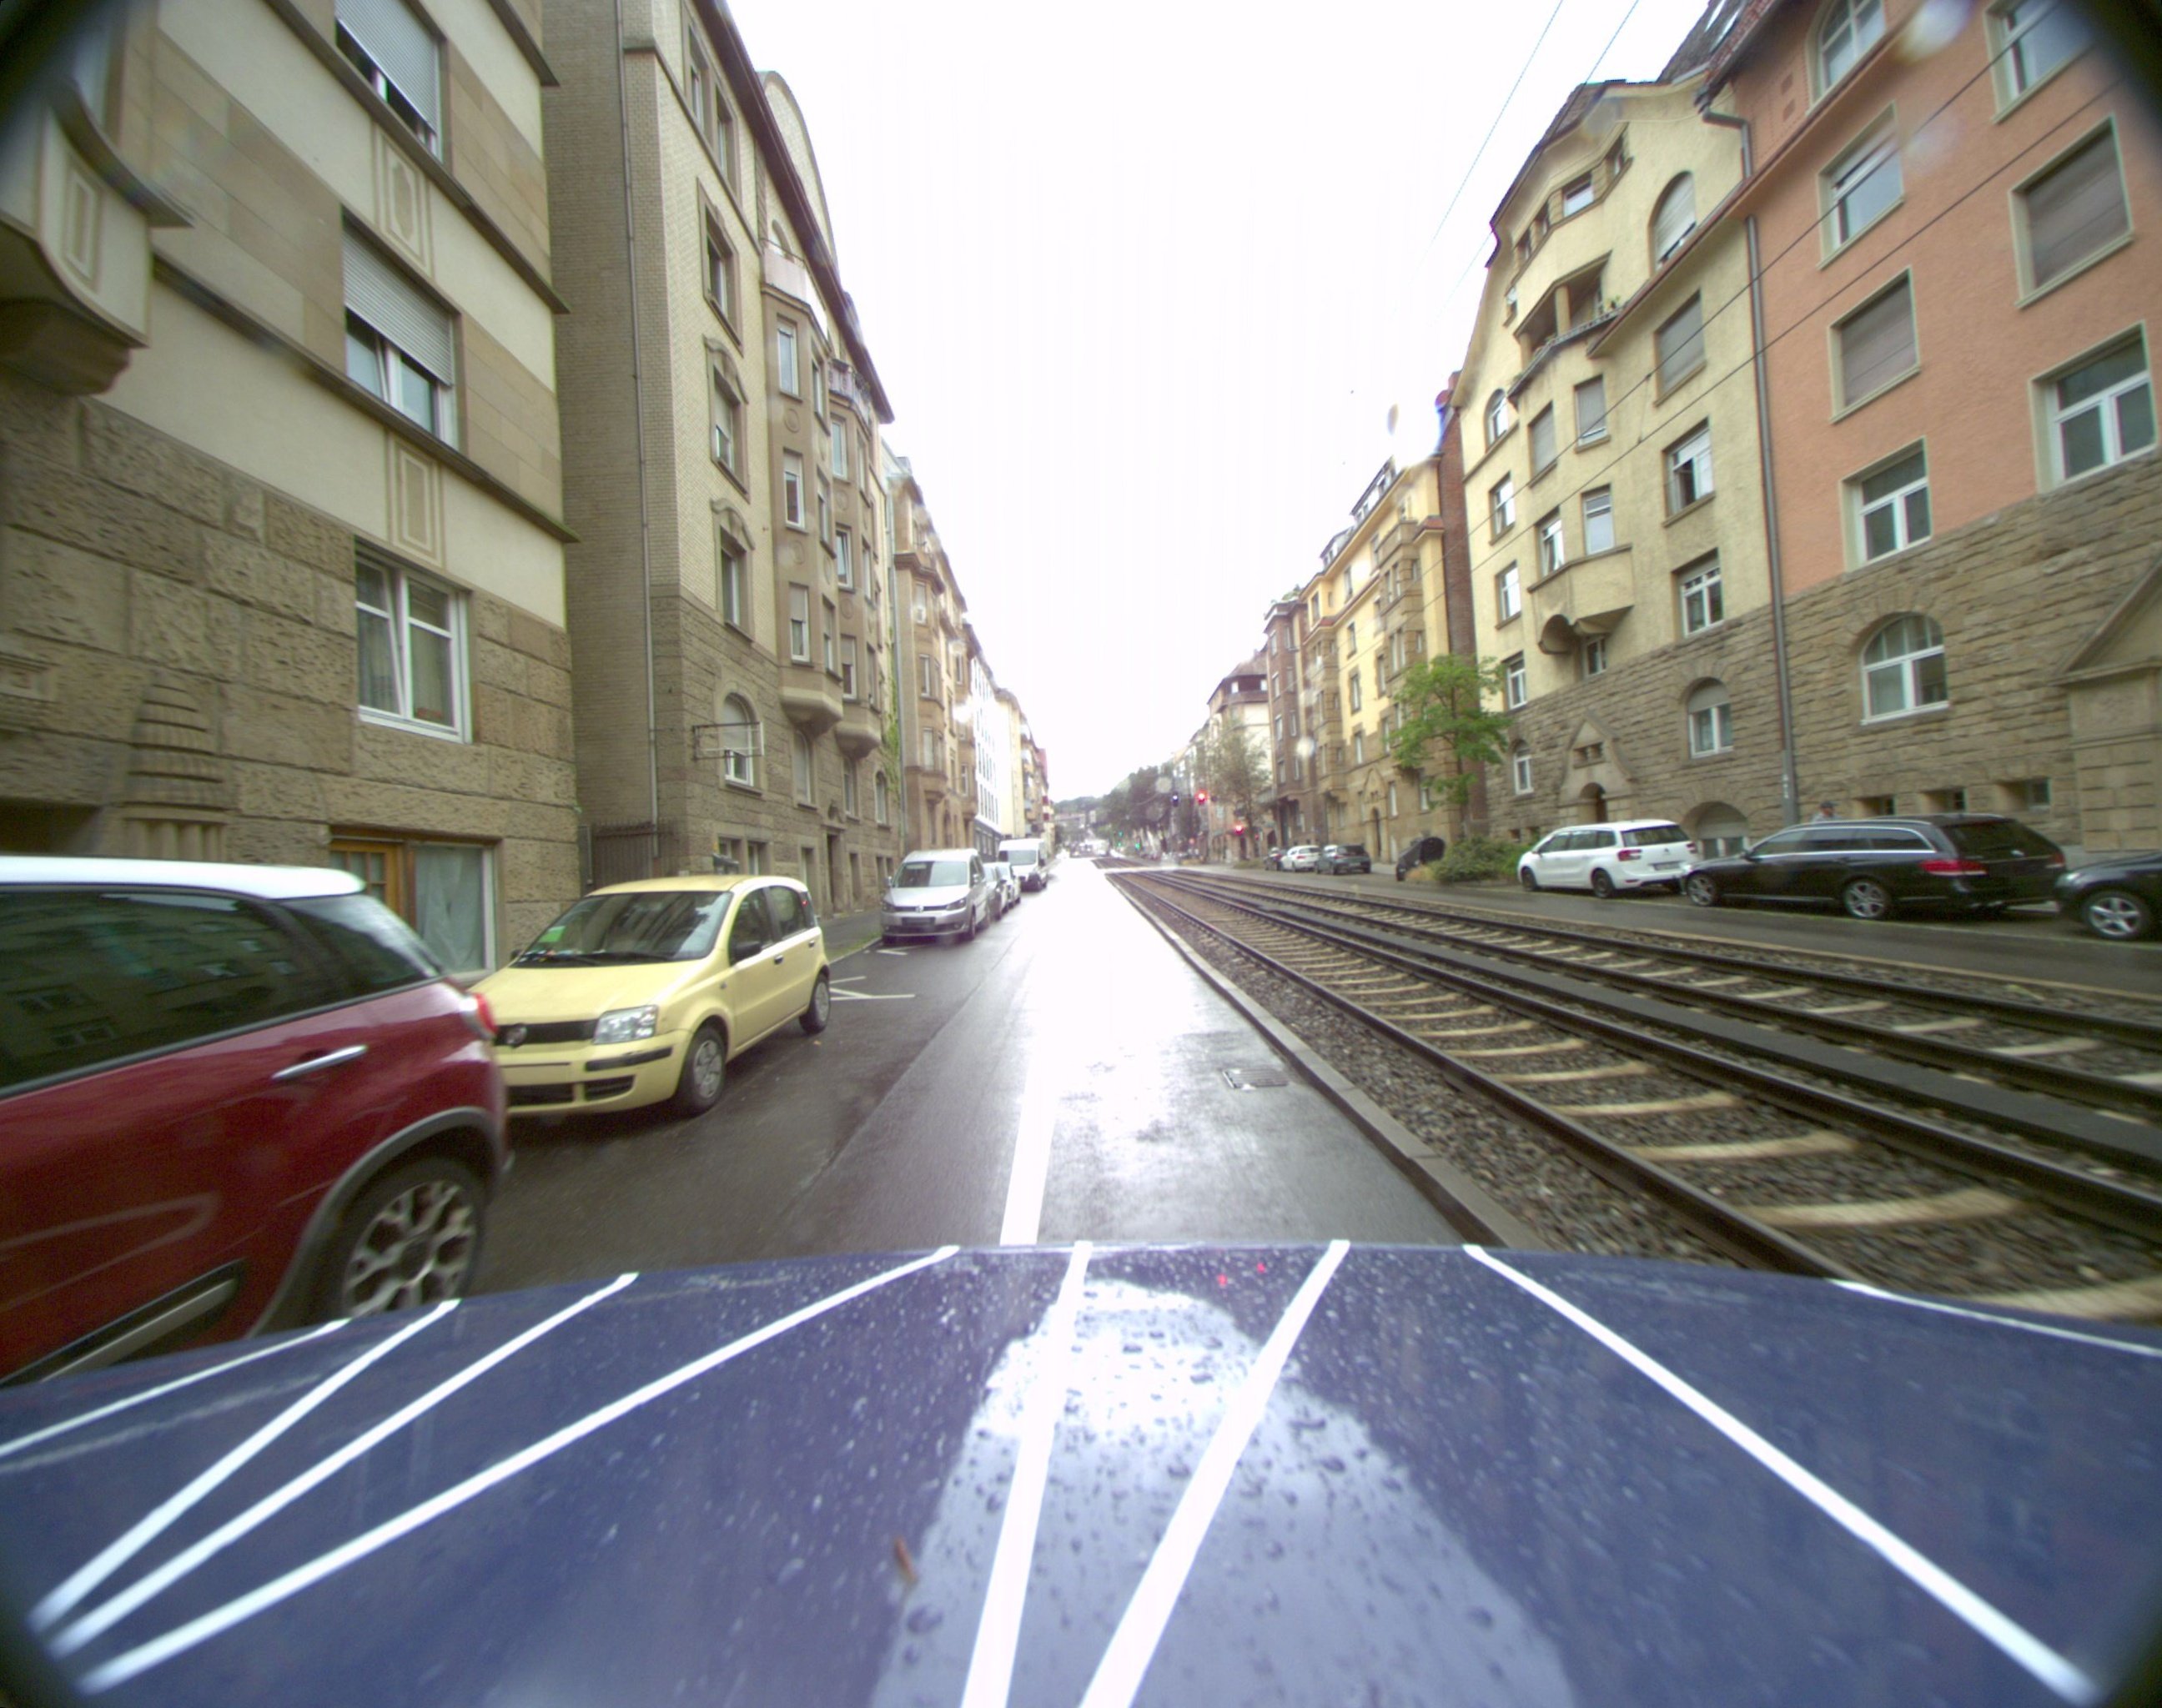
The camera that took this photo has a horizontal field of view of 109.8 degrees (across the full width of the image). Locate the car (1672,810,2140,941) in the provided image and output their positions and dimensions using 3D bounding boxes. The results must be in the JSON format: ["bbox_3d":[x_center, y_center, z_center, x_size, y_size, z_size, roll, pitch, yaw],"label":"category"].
[{"bbox_3d":[12.319,0.268,12.056,1.998,1.500,4.974,-5,0,1],"label":"car"}]

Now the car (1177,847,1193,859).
[{"bbox_3d":[13.488,-0.136,98.707,1.811,1.489,3.526,-3,0,3],"label":"car"}]

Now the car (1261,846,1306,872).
[{"bbox_3d":[12.705,0.306,47.907,1.769,1.477,3.999,-3,1,1],"label":"car"}]

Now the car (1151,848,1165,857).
[{"bbox_3d":[13.222,-0.280,130.983,1.911,1.432,4.468,-2,1,-1],"label":"car"}]

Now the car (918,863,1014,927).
[{"bbox_3d":[-3.010,1.035,20.808,1.999,1.433,3.999,-2,1,0],"label":"car"}]

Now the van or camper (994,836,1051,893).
[{"bbox_3d":[-2.707,0.427,36.658,2.069,2.455,6.118,-2,1,1],"label":"van or camper"}]

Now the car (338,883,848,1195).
[{"bbox_3d":[-3.176,1.071,5.848,1.563,1.469,3.460,-4,0,1],"label":"car"}]

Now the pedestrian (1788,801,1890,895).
[{"bbox_3d":[14.929,-0.117,14.992,1.010,1.743,0.924,-3,0,-3],"label":"pedestrian"}]

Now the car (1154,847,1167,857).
[{"bbox_3d":[12.902,-0.317,123.780,1.780,1.560,4.158,-2,1,1],"label":"car"}]

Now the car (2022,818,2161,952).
[{"bbox_3d":[12.364,0.304,7.333,1.646,1.390,3.883,-3,0,-2],"label":"car"}]

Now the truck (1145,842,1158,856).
[{"bbox_3d":[13.410,-0.961,145.123,2.197,2.332,6.351,-2,2,2],"label":"truck"}]

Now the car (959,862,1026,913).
[{"bbox_3d":[-2.861,1.046,25.227,1.680,1.403,4.000,-4,0,0],"label":"car"}]

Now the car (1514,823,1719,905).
[{"bbox_3d":[12.273,0.190,17.831,1.789,1.580,4.351,-3,0,2],"label":"car"}]

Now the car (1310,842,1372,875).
[{"bbox_3d":[12.477,0.190,36.741,1.565,1.429,4.145,-4,0,1],"label":"car"}]

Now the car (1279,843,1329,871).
[{"bbox_3d":[12.468,0.157,42.706,1.671,1.417,4.262,-3,0,2],"label":"car"}]

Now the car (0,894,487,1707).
[{"bbox_3d":[-3.017,1.002,0.743,1.715,1.619,3.999,-3,0,-2],"label":"car"}]

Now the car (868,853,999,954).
[{"bbox_3d":[-2.911,0.905,15.957,1.779,1.766,4.360,-2,0,1],"label":"car"}]
